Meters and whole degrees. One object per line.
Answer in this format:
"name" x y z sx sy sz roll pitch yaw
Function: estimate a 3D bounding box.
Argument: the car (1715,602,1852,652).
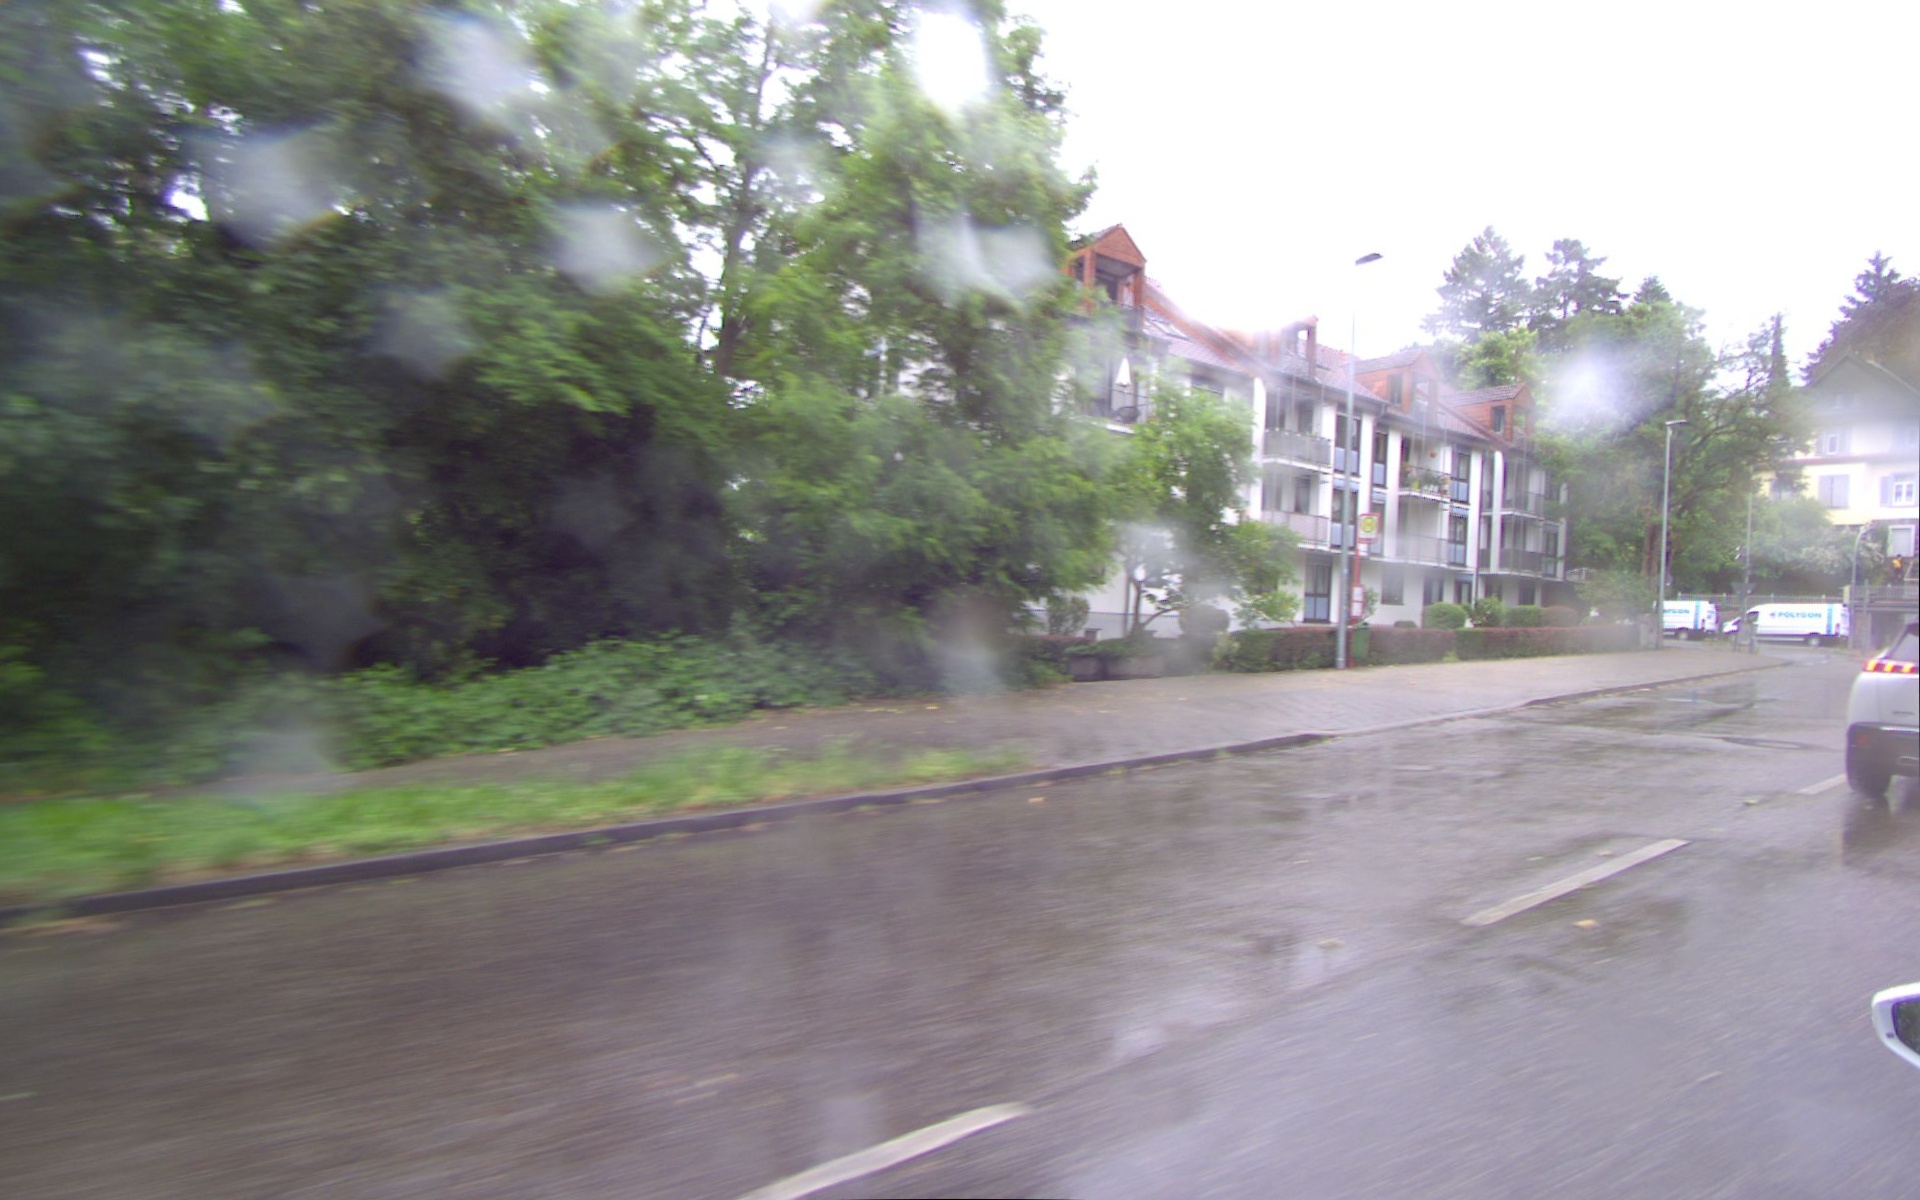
"car" 47.260 1.520 57.777 2.293 2.527 5.621 3 0 -35

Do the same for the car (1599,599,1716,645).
"car" 43.695 1.348 63.020 2.293 2.527 5.524 3 0 -35

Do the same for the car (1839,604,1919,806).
"car" 9.368 0.854 8.799 4.328 1.556 1.739 1 -1 -38
